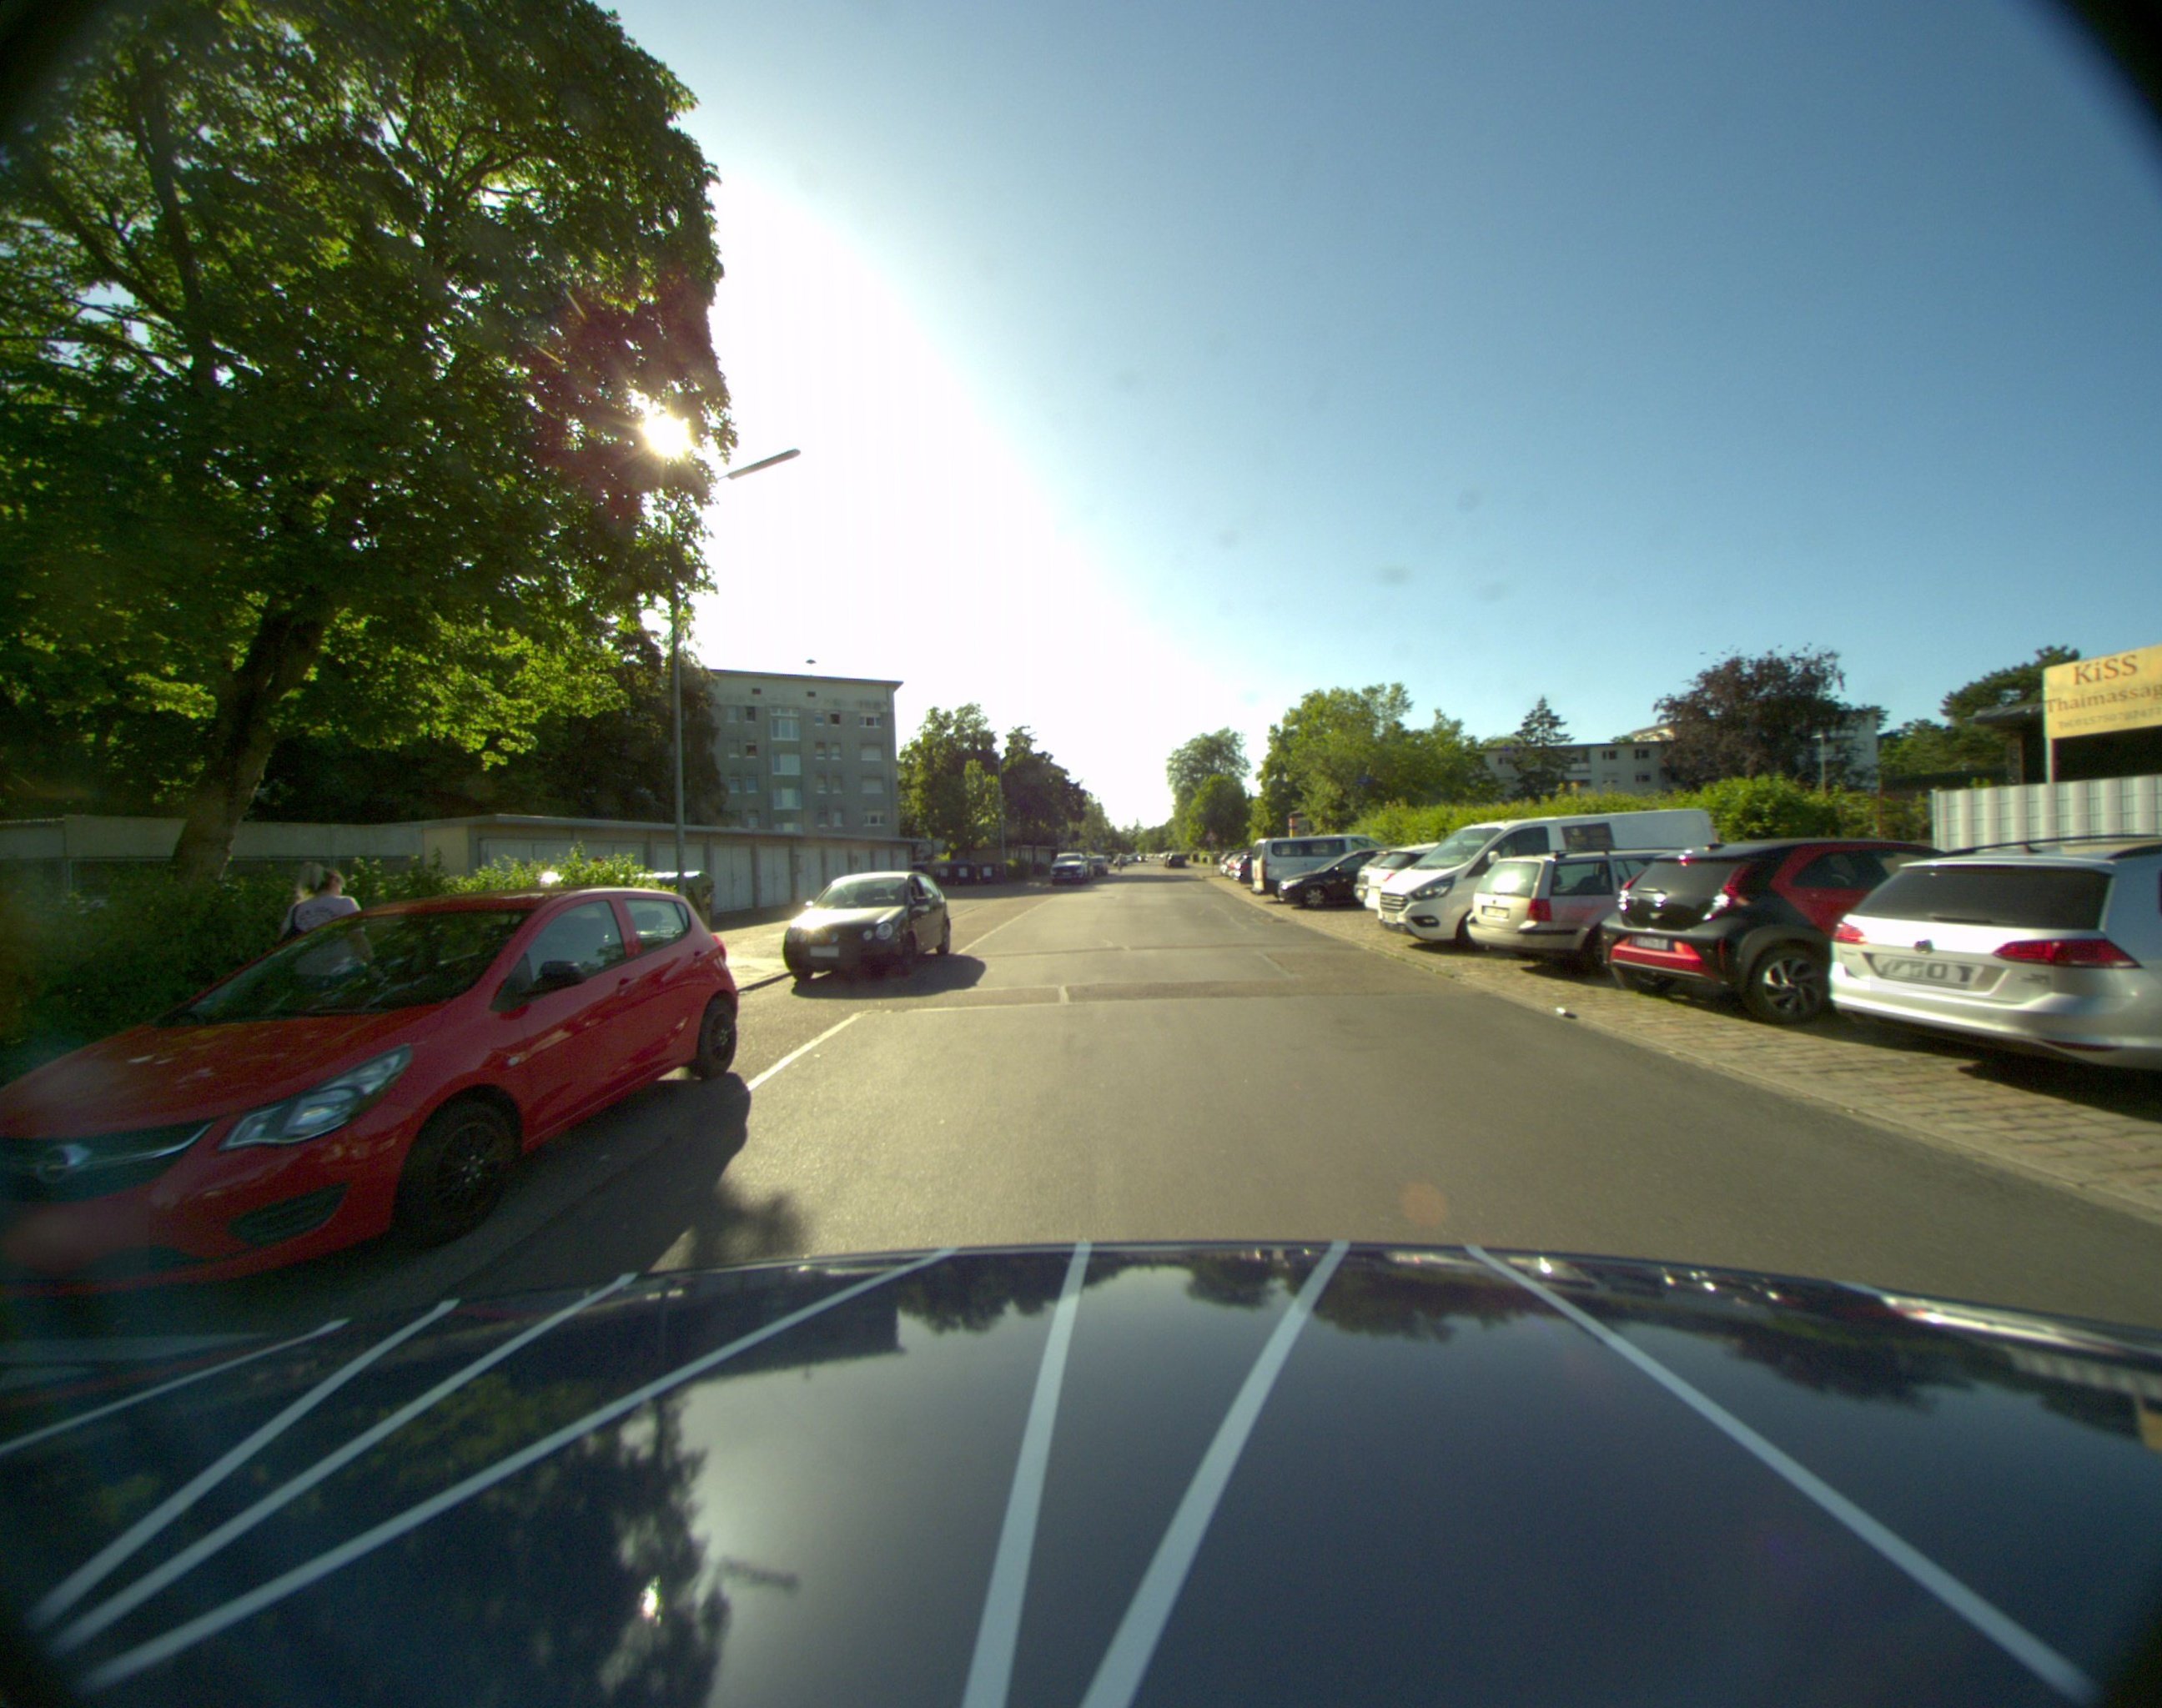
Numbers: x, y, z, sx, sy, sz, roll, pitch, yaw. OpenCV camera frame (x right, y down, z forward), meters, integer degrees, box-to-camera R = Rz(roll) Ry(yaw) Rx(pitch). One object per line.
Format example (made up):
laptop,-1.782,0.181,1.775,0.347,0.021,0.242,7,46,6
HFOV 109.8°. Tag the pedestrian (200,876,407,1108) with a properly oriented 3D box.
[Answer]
pedestrian,-5.680,0.976,5.591,0.789,1.556,0.569,-4,1,1

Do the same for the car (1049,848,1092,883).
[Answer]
car,-0.558,0.647,44.550,1.911,1.829,5.276,-4,0,5

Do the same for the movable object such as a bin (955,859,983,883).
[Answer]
movable object such as a bin,-6.634,0.985,44.898,1.252,1.339,1.054,-2,2,17

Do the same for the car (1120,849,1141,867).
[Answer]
car,4.662,0.368,70.986,1.731,1.586,3.814,-3,0,5

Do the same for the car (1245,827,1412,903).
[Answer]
car,7.607,0.322,23.727,4.489,1.965,2.000,-4,1,4

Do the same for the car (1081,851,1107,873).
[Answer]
car,1.104,0.597,61.980,1.808,1.584,4.024,-4,0,5

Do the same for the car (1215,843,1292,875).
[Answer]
car,9.955,0.291,44.019,3.996,1.524,1.832,-4,1,4

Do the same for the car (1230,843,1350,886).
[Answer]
car,8.727,0.439,32.006,4.553,1.470,1.748,-4,0,5

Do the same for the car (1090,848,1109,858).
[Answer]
car,3.490,-0.179,142.207,3.503,1.499,1.602,-4,1,0

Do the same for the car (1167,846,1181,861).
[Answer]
car,12.544,-0.036,102.642,1.909,1.930,4.513,0,0,6

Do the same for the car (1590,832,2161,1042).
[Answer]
car,7.033,0.685,7.006,3.523,1.480,1.637,-4,-1,-1

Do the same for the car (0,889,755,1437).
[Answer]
car,-3.432,1.064,4.232,1.579,1.438,3.787,-3,1,-1

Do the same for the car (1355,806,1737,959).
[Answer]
car,7.243,0.411,12.248,4.801,1.909,2.081,-4,1,-1

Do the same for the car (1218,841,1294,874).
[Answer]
car,10.764,0.194,46.901,4.196,1.646,1.846,-4,1,3

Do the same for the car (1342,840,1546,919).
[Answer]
car,8.292,0.561,17.661,3.776,1.478,1.884,-4,1,5

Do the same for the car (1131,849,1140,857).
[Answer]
car,11.806,-0.213,163.431,1.731,1.586,3.814,-3,0,5

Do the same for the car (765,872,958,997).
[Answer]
car,-3.113,1.072,11.620,1.651,1.395,3.882,-2,1,2

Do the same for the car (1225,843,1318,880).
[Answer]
car,9.045,0.364,36.309,3.995,1.470,1.791,-4,0,5

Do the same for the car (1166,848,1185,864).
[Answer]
car,9.819,0.180,79.085,1.784,1.564,4.425,-3,0,5

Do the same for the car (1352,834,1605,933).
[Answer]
car,7.748,0.546,15.160,3.996,1.573,1.884,-4,1,5

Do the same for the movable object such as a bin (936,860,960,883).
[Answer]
movable object such as a bin,-7.938,1.046,45.395,1.077,1.339,0.865,-2,2,17

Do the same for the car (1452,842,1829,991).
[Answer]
car,6.846,0.697,9.531,3.523,1.438,1.636,-4,1,-3

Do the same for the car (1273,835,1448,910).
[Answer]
car,7.489,0.486,20.779,4.158,1.696,1.885,-4,1,11

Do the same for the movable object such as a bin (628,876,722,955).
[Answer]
movable object such as a bin,-7.879,1.178,14.792,1.240,1.395,0.914,-2,1,2

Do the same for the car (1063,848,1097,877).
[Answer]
car,0.006,0.557,51.244,1.837,1.780,4.557,-4,-1,4

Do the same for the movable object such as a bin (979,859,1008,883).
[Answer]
movable object such as a bin,-5.095,0.980,44.261,1.252,1.339,1.054,-2,2,17

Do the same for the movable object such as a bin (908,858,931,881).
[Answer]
movable object such as a bin,-10.070,0.957,47.288,1.078,1.409,0.834,-2,2,11

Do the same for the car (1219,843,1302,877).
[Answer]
car,9.816,0.316,41.821,4.101,1.504,1.812,-4,1,4

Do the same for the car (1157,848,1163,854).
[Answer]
car,22.469,-0.883,214.907,1.632,1.619,3.557,0,0,5

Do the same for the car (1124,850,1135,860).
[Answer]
car,8.205,0.110,128.265,1.731,1.586,3.814,-3,0,5

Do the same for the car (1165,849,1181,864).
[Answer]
car,10.735,0.276,88.957,1.817,1.672,3.649,0,0,6

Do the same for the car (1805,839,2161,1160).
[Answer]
car,6.987,0.687,4.581,3.522,1.480,1.637,-4,1,3

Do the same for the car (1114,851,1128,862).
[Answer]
car,5.678,0.385,106.263,1.731,1.462,3.814,-3,0,5

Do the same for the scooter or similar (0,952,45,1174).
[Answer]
scooter or similar,-6.375,1.193,3.968,0.624,1.220,0.905,-1,1,1
